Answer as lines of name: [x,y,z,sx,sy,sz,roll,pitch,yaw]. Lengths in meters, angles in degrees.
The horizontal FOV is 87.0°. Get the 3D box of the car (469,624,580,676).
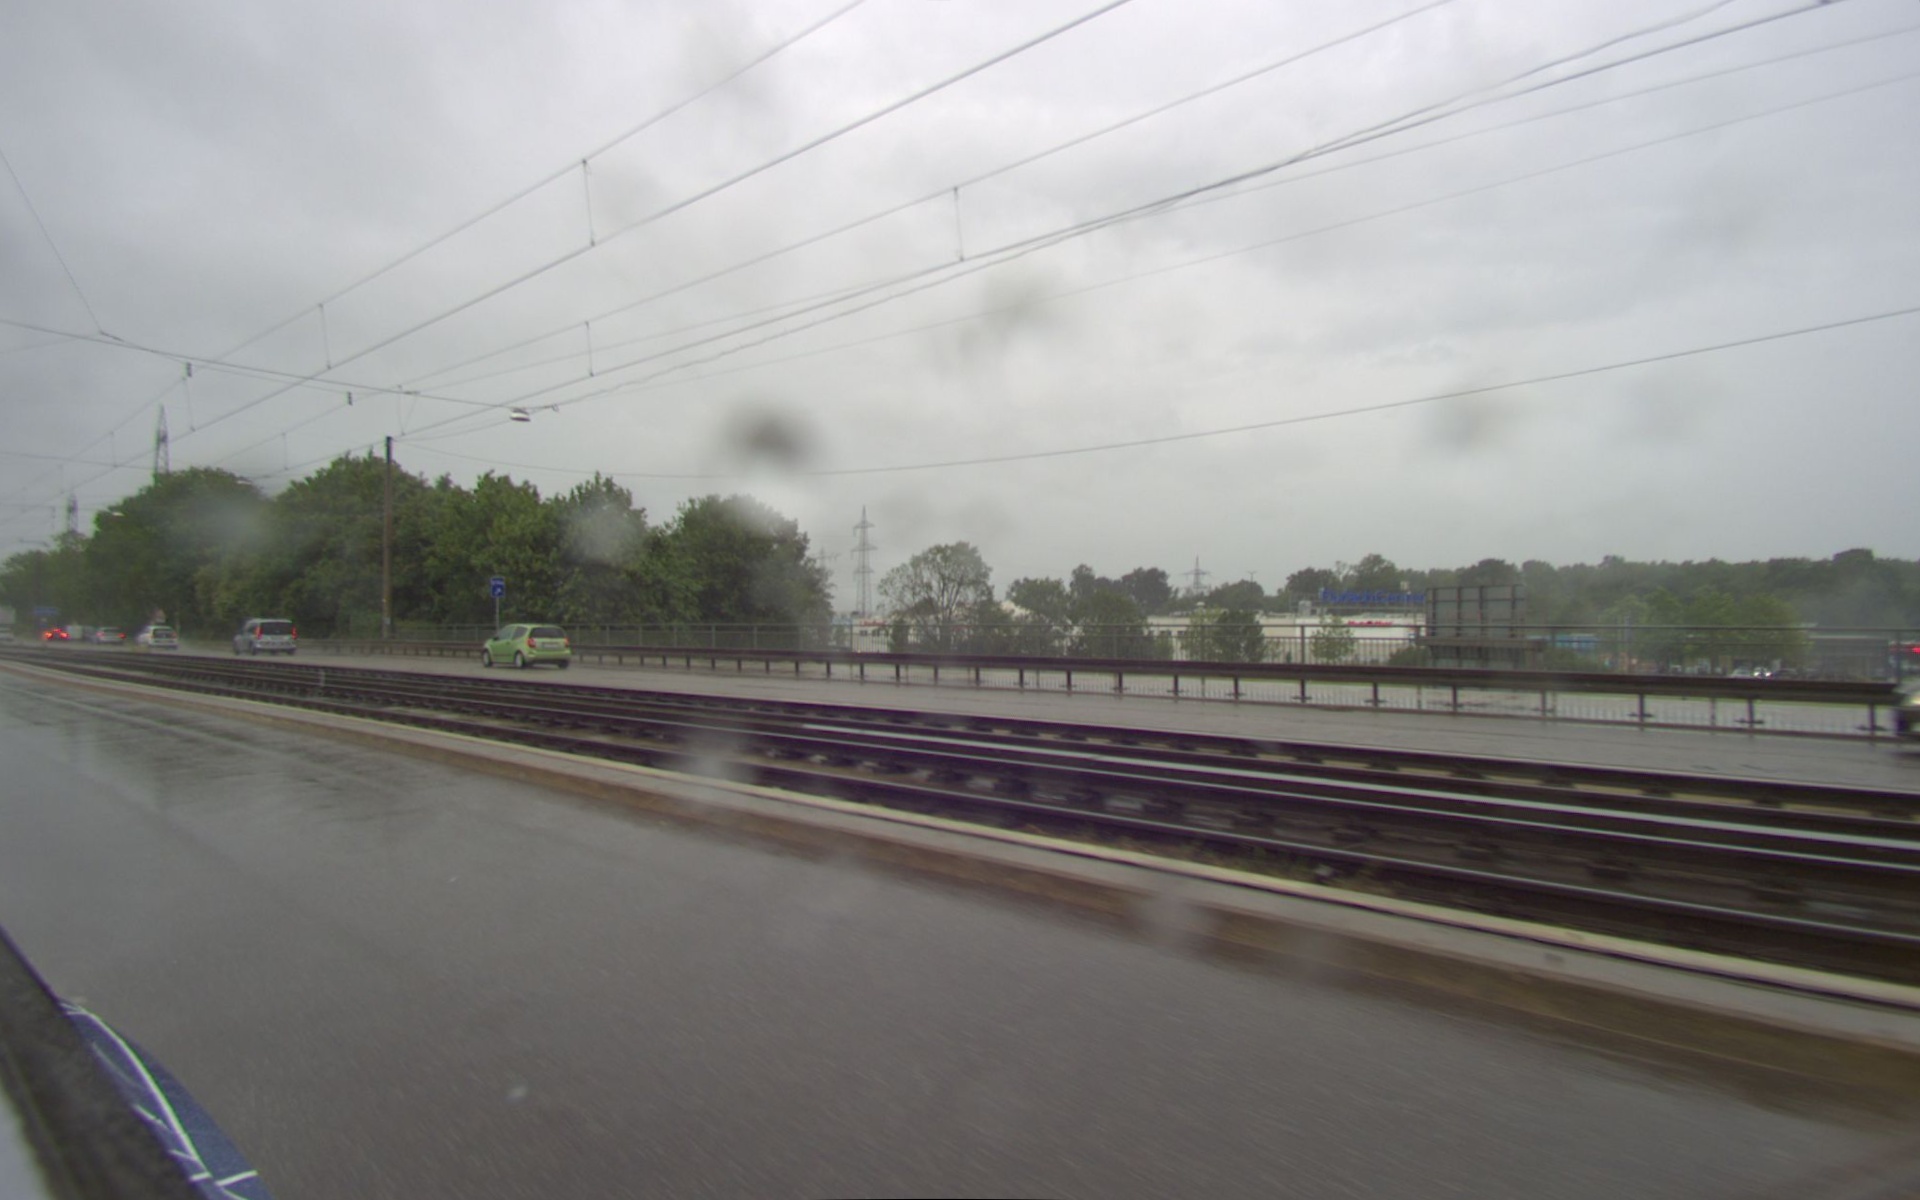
car: [-14.442,1.622,33.474,3.998,1.606,1.827,-2,-1,41]

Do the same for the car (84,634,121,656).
car: [-77.029,4.020,90.897,4.659,1.724,1.814,-2,1,41]

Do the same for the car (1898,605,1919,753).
car: [12.434,0.804,10.100,4.383,1.586,1.822,-2,-1,41]

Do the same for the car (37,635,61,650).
car: [-103.726,4.826,115.221,3.672,1.642,1.753,-2,1,45]

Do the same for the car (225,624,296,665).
car: [-34.989,2.184,50.596,4.391,1.845,1.830,-2,1,41]

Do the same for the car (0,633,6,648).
car: [-109.137,4.625,114.173,3.669,1.642,1.755,-2,1,41]

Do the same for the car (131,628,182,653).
car: [-53.528,2.675,67.388,3.998,1.630,1.973,-2,-2,41]
